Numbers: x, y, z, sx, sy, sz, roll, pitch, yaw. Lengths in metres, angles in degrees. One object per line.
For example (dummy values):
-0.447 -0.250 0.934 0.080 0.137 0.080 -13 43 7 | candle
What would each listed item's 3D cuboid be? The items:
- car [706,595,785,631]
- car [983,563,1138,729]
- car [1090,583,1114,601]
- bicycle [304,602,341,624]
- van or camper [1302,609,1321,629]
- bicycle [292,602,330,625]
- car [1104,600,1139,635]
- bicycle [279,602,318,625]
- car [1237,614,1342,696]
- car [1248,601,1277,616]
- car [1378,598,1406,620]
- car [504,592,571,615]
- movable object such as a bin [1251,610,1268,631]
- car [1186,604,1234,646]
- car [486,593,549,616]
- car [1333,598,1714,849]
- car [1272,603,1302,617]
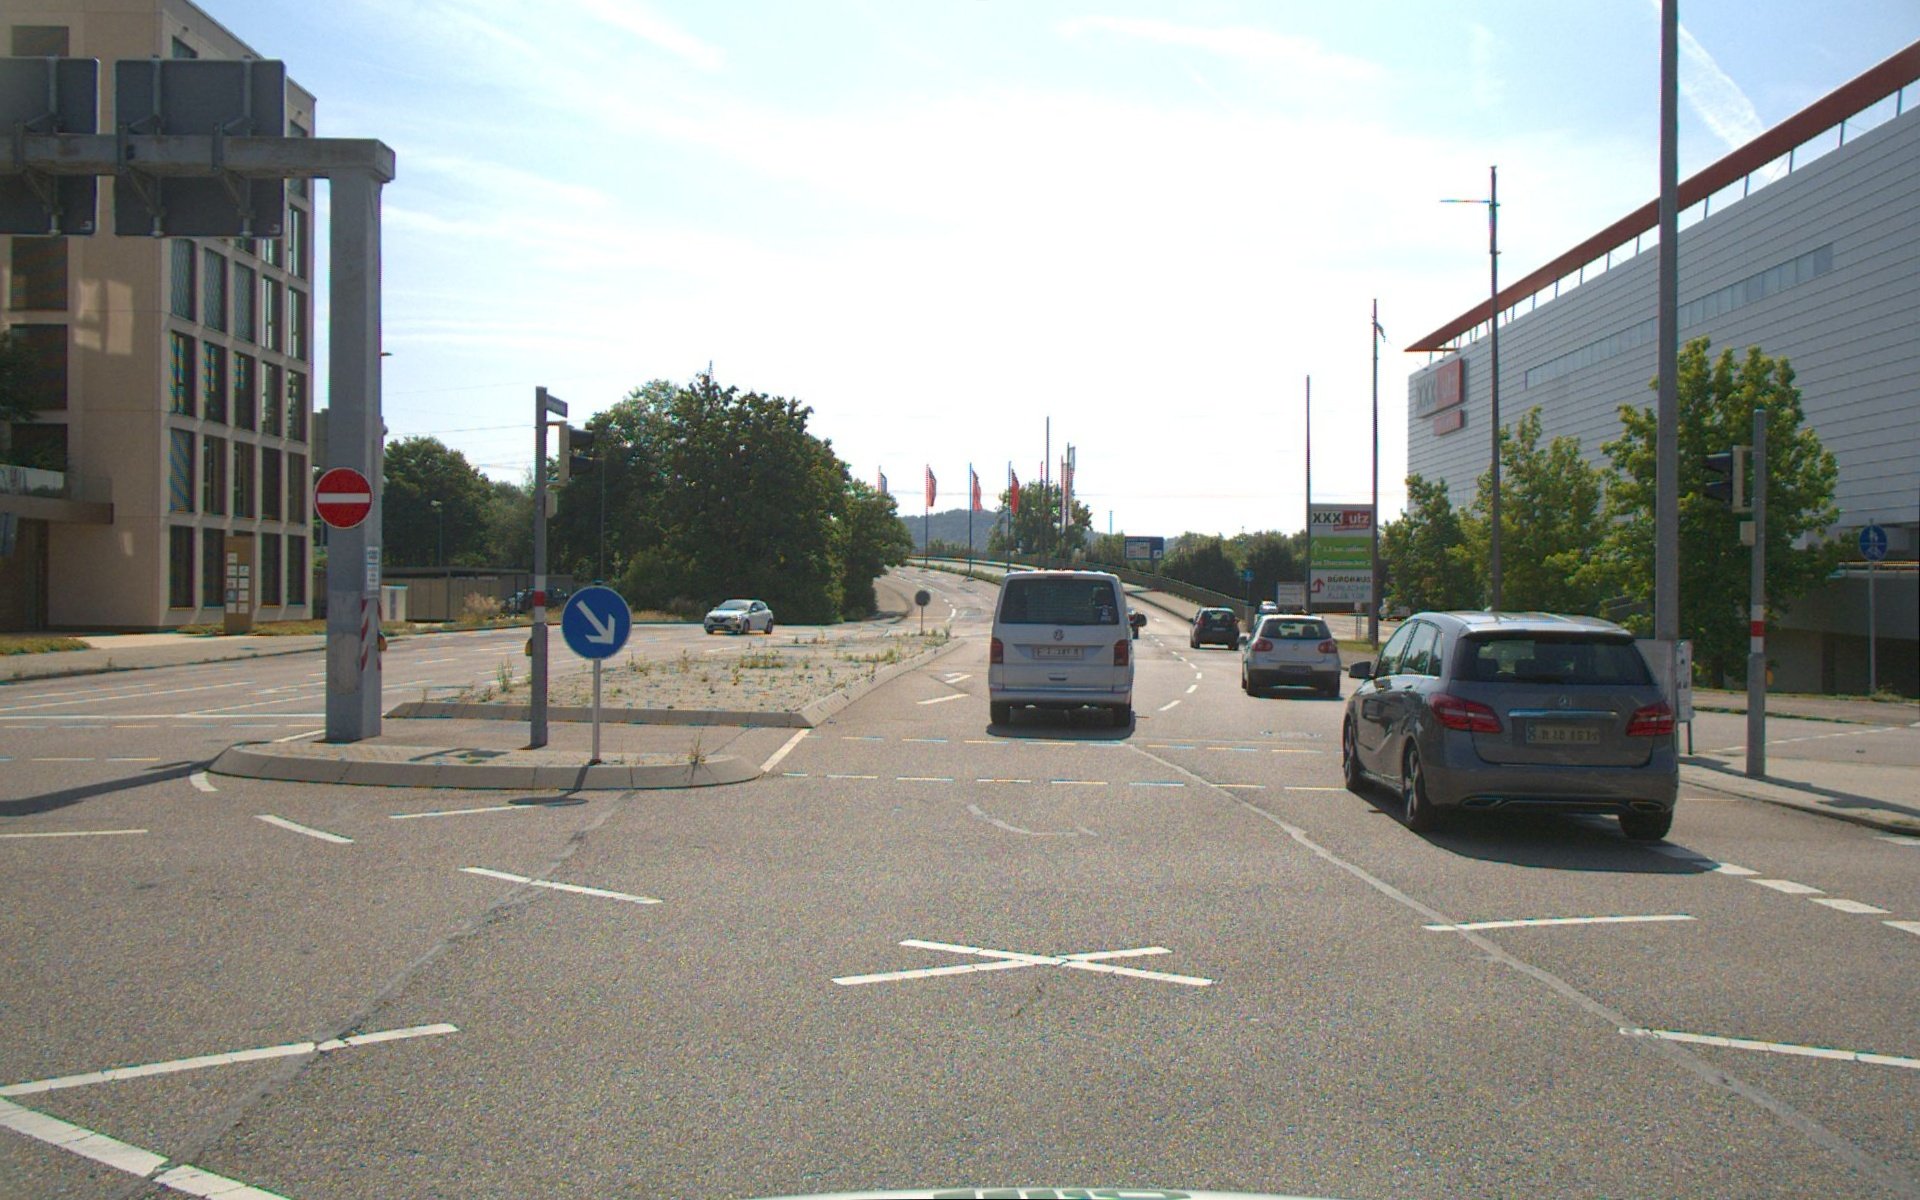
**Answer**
-9.250 0.586 71.593 1.744 1.486 4.335 0 -1 17 | car
1.432 0.548 22.394 1.876 2.010 4.300 0 0 5 | car
12.105 -0.658 141.380 1.501 1.505 3.422 2 0 -4 | car
-32.678 0.655 84.812 1.667 1.110 0.588 1 0 1 | bicycle
40.832 2.203 191.987 2.054 2.216 5.442 3 -1 12 | van or camper
-32.645 0.661 83.224 1.667 1.110 0.588 1 0 1 | bicycle
7.444 0.801 76.365 1.499 1.505 3.249 2 0 4 | car
-32.683 0.653 81.725 1.667 1.110 0.588 1 0 1 | bicycle
6.247 1.001 31.672 1.631 1.439 3.685 1 0 6 | car
33.378 0.952 182.393 1.849 1.545 3.992 3 -1 -9 | car
38.117 0.766 145.979 1.638 1.782 4.096 1 1 4 | car
-27.298 0.231 106.834 4.038 1.445 1.718 1 -1 -20 | car
16.663 1.150 92.114 0.793 1.133 1.182 1 0 4 | movable object such as a bin
9.393 0.923 62.343 1.499 1.505 3.598 2 0 5 | car
-29.895 0.319 111.751 4.038 1.445 1.718 1 -1 -20 | car
4.099 0.814 12.745 1.736 1.566 4.139 1 -1 4 | car
36.038 1.113 182.445 1.957 1.445 3.992 3 -1 -9 | car
